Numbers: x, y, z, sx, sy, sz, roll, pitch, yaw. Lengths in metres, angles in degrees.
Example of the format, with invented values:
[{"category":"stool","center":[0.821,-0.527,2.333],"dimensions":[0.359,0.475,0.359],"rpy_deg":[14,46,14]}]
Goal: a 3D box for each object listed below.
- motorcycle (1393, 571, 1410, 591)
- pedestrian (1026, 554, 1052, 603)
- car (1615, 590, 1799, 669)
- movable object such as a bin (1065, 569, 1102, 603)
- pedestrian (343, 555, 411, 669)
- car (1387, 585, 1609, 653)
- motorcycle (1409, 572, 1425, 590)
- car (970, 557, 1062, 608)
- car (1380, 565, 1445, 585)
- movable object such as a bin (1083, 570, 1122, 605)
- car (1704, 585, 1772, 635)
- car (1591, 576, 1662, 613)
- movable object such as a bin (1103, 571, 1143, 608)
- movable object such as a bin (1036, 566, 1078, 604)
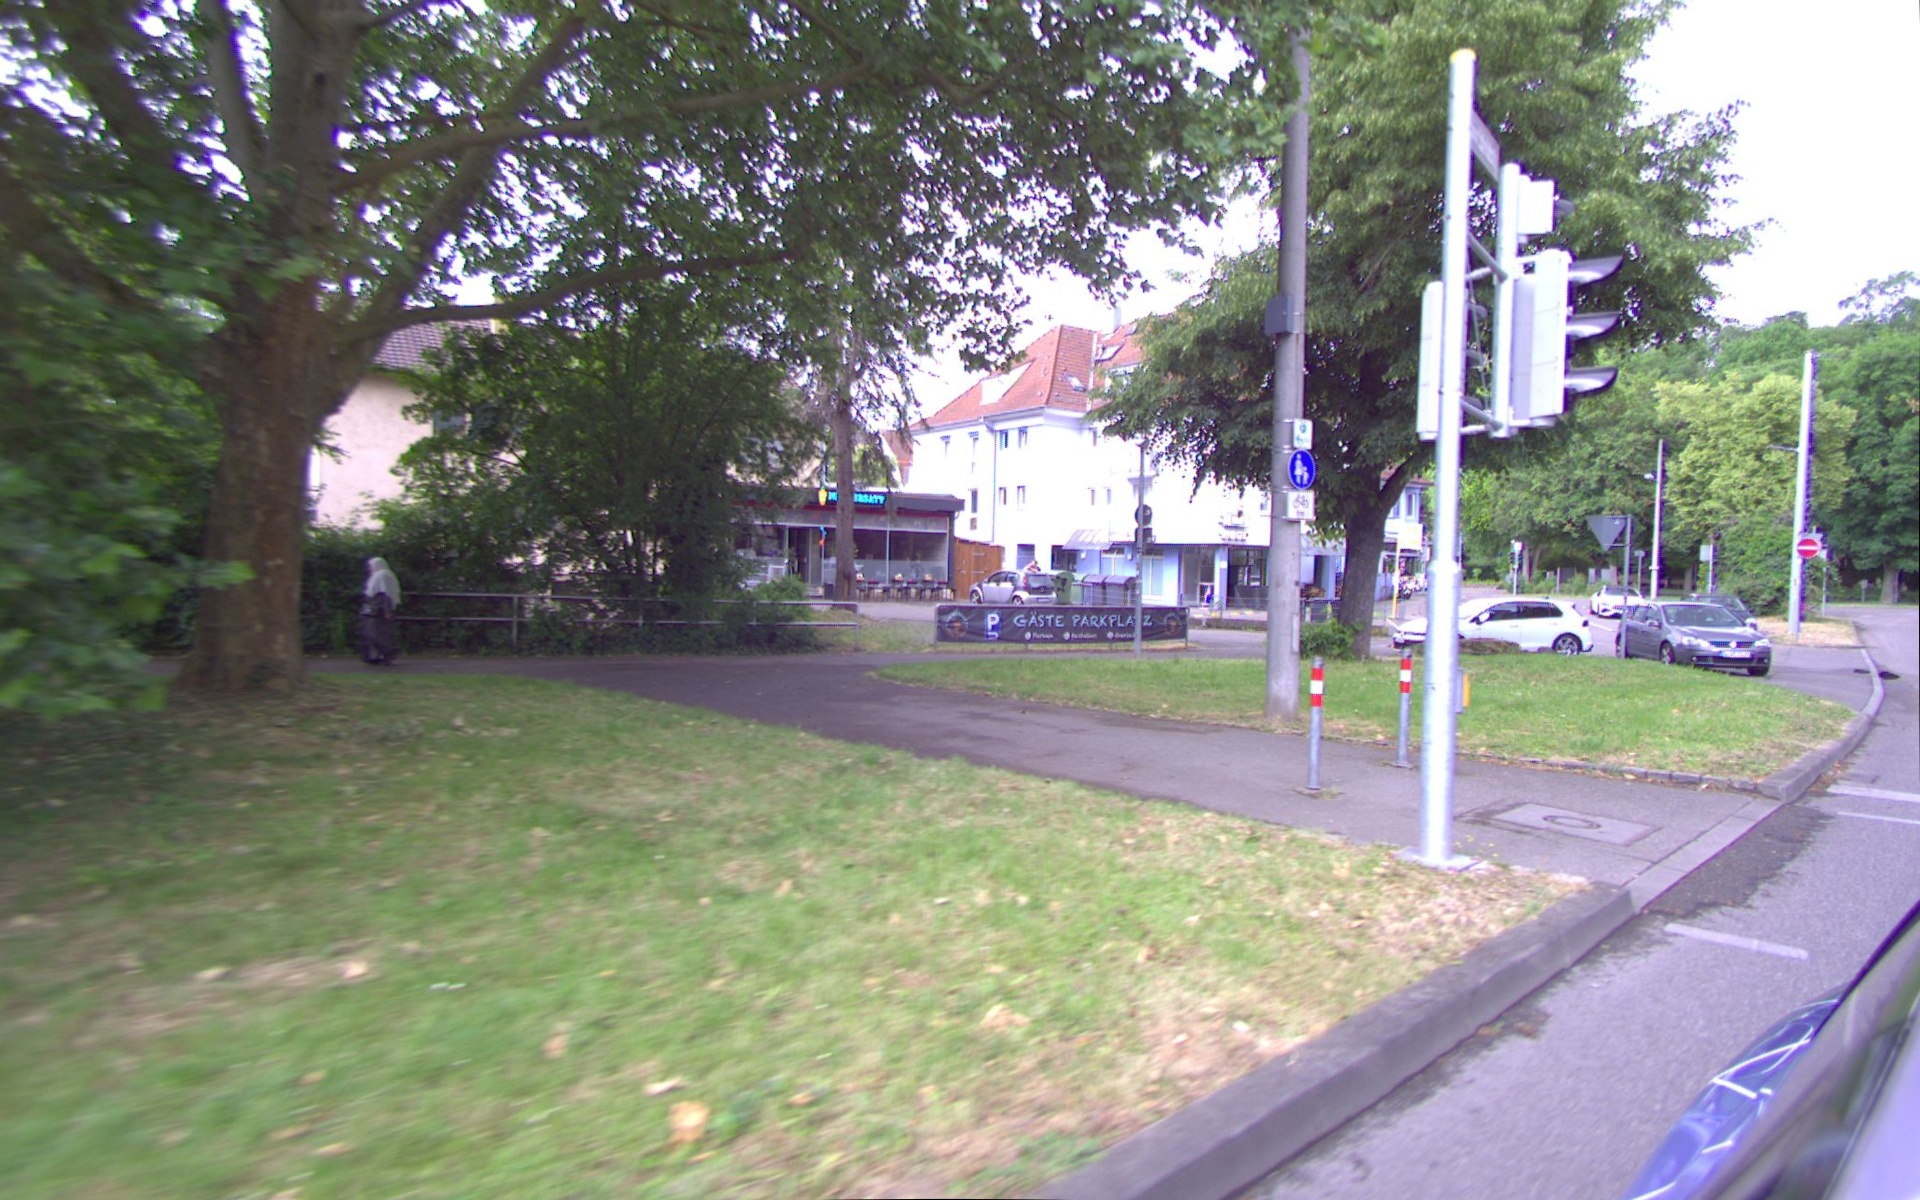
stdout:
[{"category":"motorcycle","center":[24.068,-1.054,55.160],"dimensions":[0.486,1.044,1.705],"rpy_deg":[3,3,33]},{"category":"pedestrian","center":[2.914,-0.800,37.204],"dimensions":[0.601,1.750,0.688],"rpy_deg":[-1,4,-40]},{"category":"car","center":[15.712,0.540,21.557],"dimensions":[1.709,1.447,4.094],"rpy_deg":[2,1,15]},{"category":"movable object such as a bin","center":[5.402,-0.616,44.271],"dimensions":[1.073,1.412,1.220],"rpy_deg":[-1,3,-30]},{"category":"pedestrian","center":[-8.367,0.160,14.515],"dimensions":[0.730,1.570,0.685],"rpy_deg":[0,2,-41]},{"category":"car","center":[12.459,0.412,23.633],"dimensions":[4.180,1.397,1.765],"rpy_deg":[1,2,0]},{"category":"motorcycle","center":[26.001,-1.080,57.570],"dimensions":[0.518,0.997,1.802],"rpy_deg":[2,3,33]},{"category":"car","center":[1.980,-0.678,36.721],"dimensions":[1.593,1.650,3.428],"rpy_deg":[-1,4,-33]},{"category":"car","center":[36.993,-2.035,82.778],"dimensions":[1.864,1.473,4.549],"rpy_deg":[-1,3,-34]},{"category":"movable object such as a bin","center":[6.066,-0.537,43.138],"dimensions":[1.138,1.412,1.220],"rpy_deg":[-1,3,-30]},{"category":"car","center":[24.726,0.277,32.124],"dimensions":[1.566,1.421,3.445],"rpy_deg":[3,3,39]},{"category":"car","center":[30.117,-0.310,45.858],"dimensions":[1.980,1.403,4.748],"rpy_deg":[2,4,25]},{"category":"movable object such as a bin","center":[6.749,-0.455,41.958],"dimensions":[1.073,1.433,1.220],"rpy_deg":[-1,3,-30]},{"category":"movable object such as a bin","center":[3.654,-0.594,37.979],"dimensions":[0.978,1.361,1.219],"rpy_deg":[-1,4,-40]}]
